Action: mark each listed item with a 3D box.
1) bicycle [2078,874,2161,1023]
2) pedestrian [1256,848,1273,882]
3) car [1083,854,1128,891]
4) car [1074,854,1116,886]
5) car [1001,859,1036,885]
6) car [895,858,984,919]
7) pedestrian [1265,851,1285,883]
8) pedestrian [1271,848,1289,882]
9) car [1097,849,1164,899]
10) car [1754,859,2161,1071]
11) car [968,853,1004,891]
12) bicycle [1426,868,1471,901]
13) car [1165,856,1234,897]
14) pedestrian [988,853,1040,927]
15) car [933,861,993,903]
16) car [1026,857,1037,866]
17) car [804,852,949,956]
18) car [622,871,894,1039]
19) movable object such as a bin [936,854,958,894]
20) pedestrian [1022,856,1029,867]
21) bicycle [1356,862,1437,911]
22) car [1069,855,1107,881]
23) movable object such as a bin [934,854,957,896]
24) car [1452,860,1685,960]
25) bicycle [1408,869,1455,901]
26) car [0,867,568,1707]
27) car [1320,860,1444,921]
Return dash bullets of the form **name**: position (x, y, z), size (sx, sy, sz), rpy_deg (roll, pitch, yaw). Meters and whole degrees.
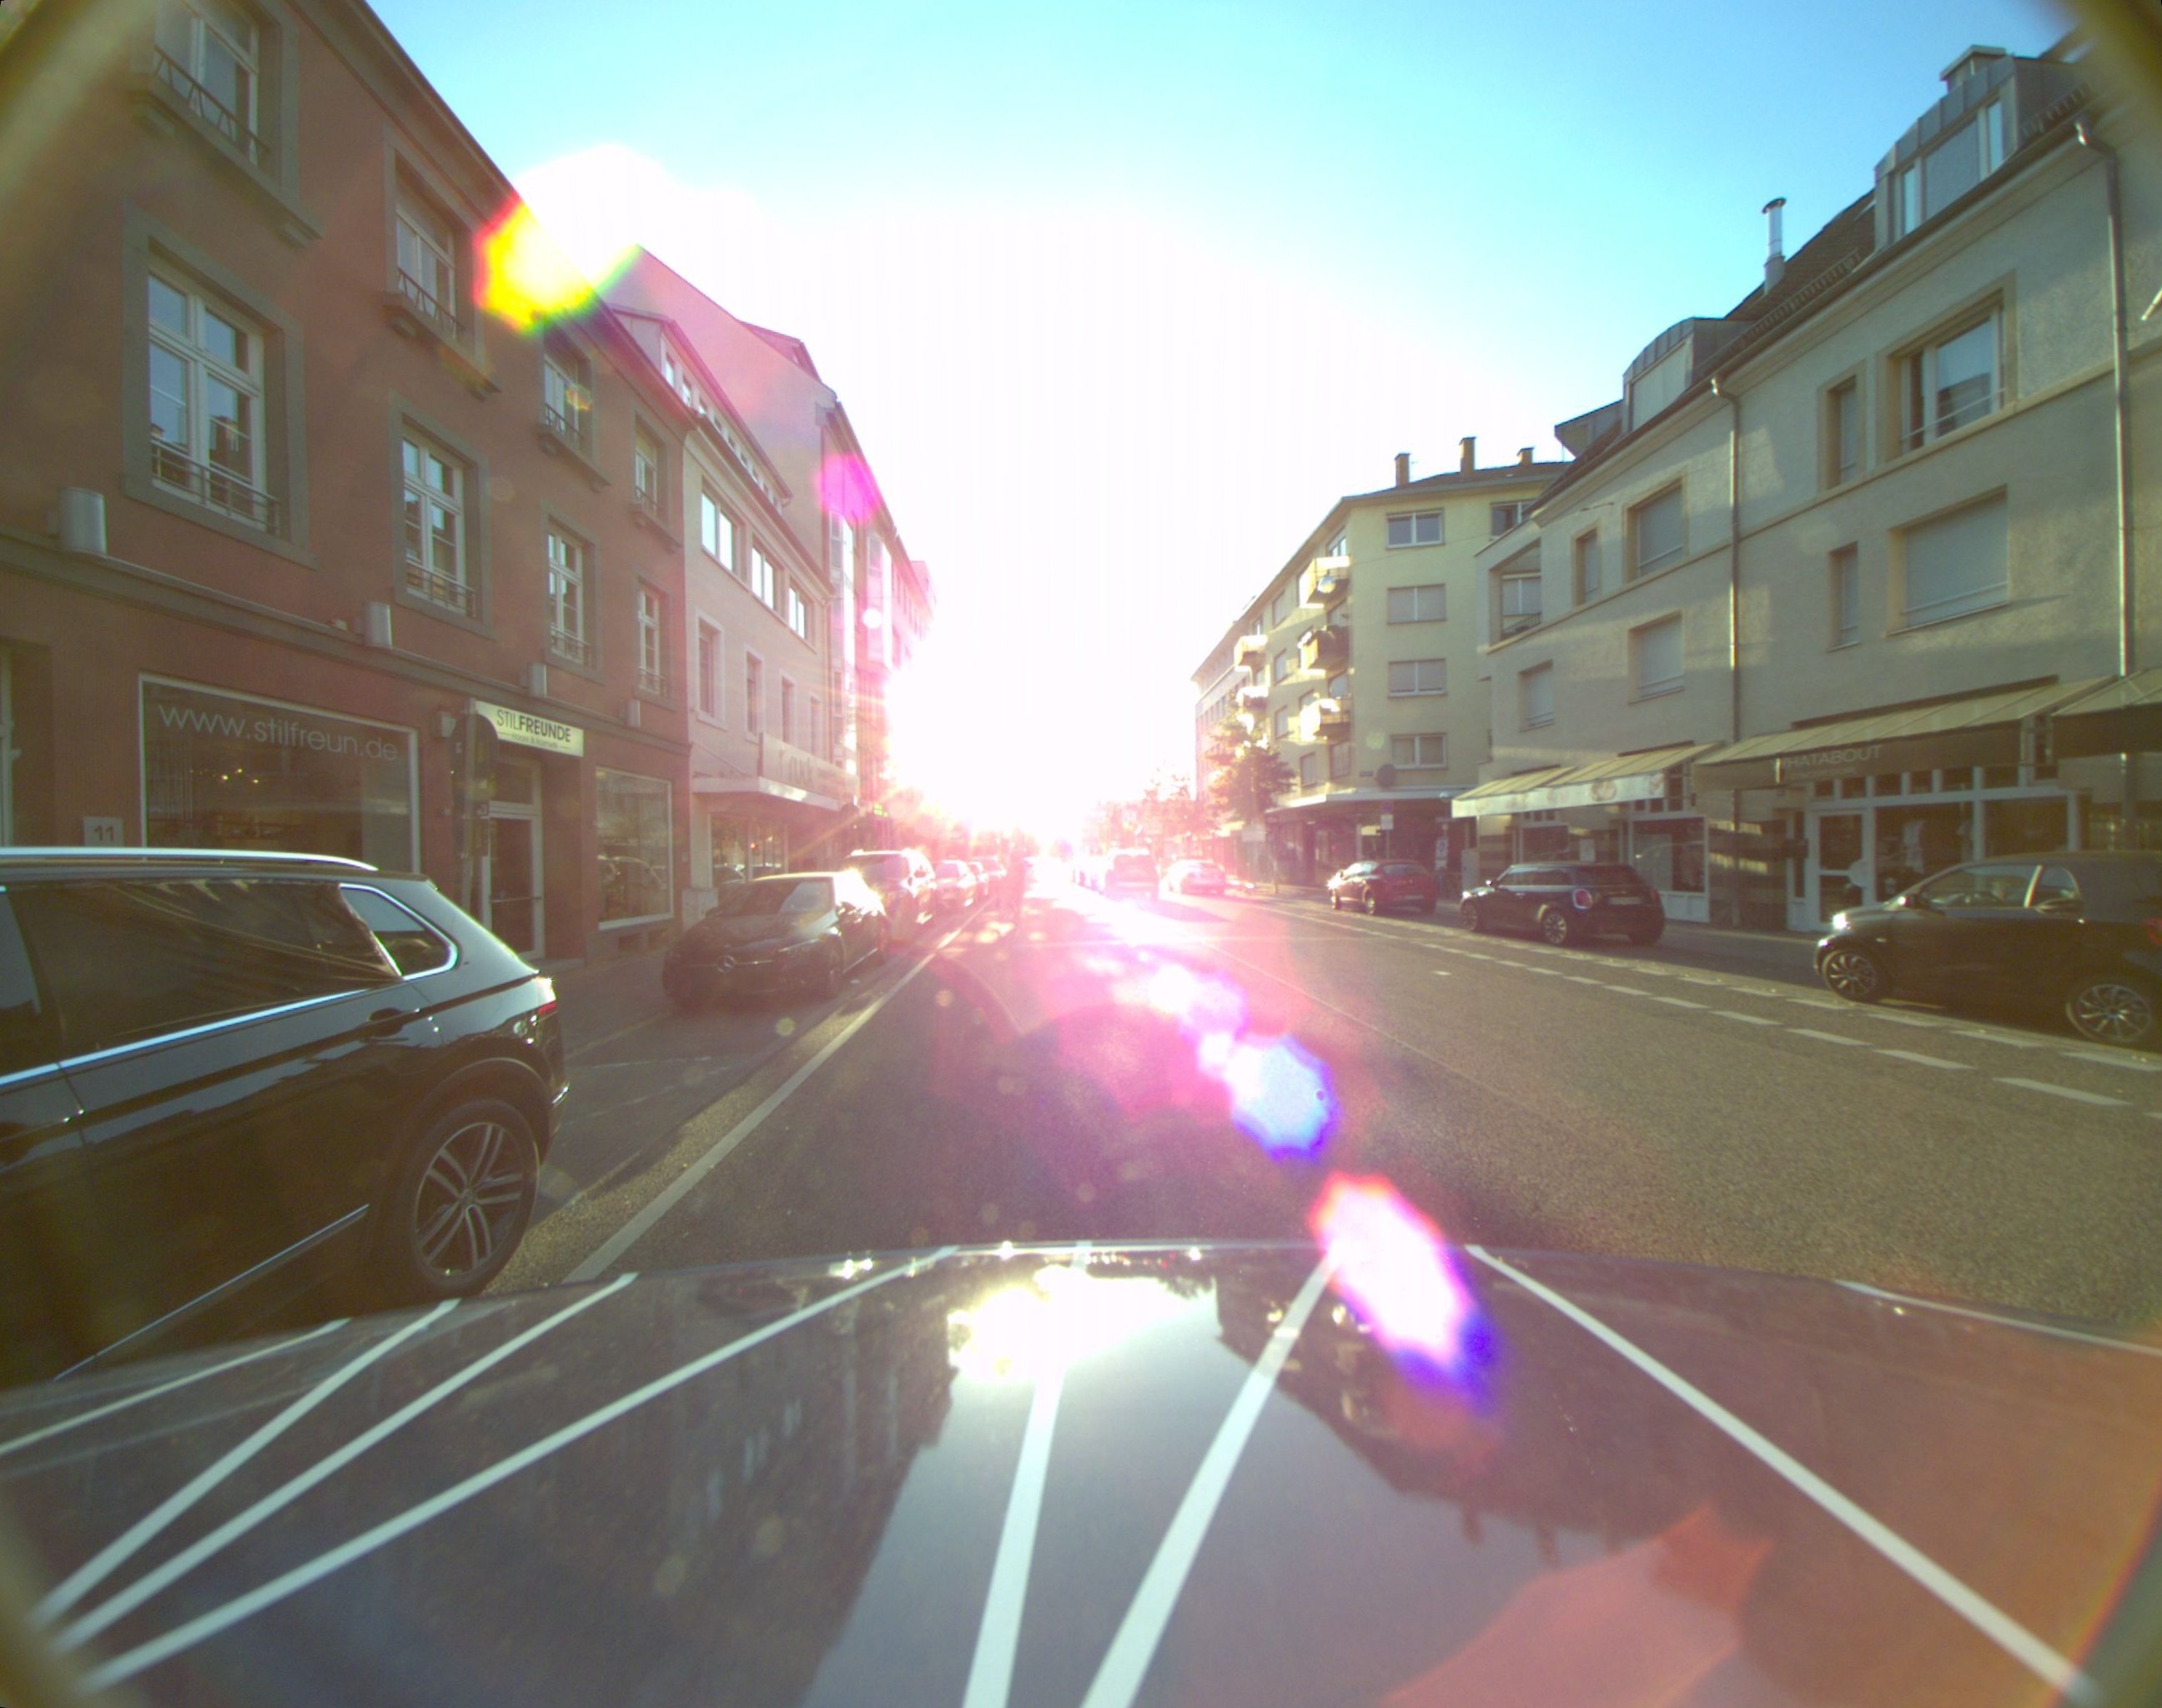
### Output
- **bicycle**: position (10.541, 0.911, 6.582), size (0.612, 1.367, 2.357), rpy_deg (-2, 1, -3)
- **pedestrian**: position (10.248, 0.612, 42.459), size (0.769, 1.836, 0.743), rpy_deg (-1, -1, 7)
- **car**: position (1.051, 0.784, 34.352), size (1.728, 1.540, 4.463), rpy_deg (0, 1, -2)
- **car**: position (0.697, 0.815, 41.223), size (1.951, 1.635, 4.613), rpy_deg (0, 1, -2)
- **car**: position (-3.660, 1.033, 44.568), size (1.942, 1.368, 4.180), rpy_deg (-2, 0, -4)
- **car**: position (-4.177, 0.957, 23.185), size (1.816, 1.518, 4.992), rpy_deg (-2, 1, -1)
- **pedestrian**: position (10.231, 0.695, 40.022), size (0.768, 1.666, 0.744), rpy_deg (-1, 1, 39)
- **pedestrian**: position (10.812, 0.590, 41.264), size (0.742, 1.808, 0.813), rpy_deg (0, 0, -1)
- **car**: position (1.680, 0.660, 27.529), size (1.946, 1.635, 4.737), rpy_deg (0, 1, -2)
- **car**: position (8.720, 0.828, 7.155), size (1.797, 1.526, 3.187), rpy_deg (-1, 0, -6)
- **car**: position (-4.754, 0.877, 38.406), size (1.659, 1.768, 4.010), rpy_deg (-2, 0, -6)
- **bicycle**: position (12.275, 0.994, 25.440), size (0.491, 0.986, 2.015), rpy_deg (-2, 1, -2)
- **car**: position (4.996, 0.914, 32.573), size (1.999, 1.503, 4.507), rpy_deg (2, 1, -3)
- **pedestrian**: position (-1.586, 0.814, 17.861), size (0.908, 1.666, 0.991), rpy_deg (-1, 0, -26)
- **car**: position (-4.392, 0.995, 28.899), size (1.757, 1.412, 4.508), rpy_deg (-2, 0, -3)
- **car**: position (-10.286, 1.541, 158.515), size (1.999, 1.538, 4.508), rpy_deg (-2, 1, -2)
- **car**: position (-4.079, 0.888, 16.081), size (1.888, 1.744, 5.056), rpy_deg (-2, 1, -3)
- **car**: position (-3.775, 1.066, 9.818), size (1.767, 1.475, 4.305), rpy_deg (-2, 1, -2)
- **movable object such as a bin**: position (-6.106, 0.884, 34.668), size (0.837, 1.763, 1.205), rpy_deg (-2, 1, -6)
- **pedestrian**: position (-8.794, 1.161, 119.615), size (0.905, 1.667, 0.780), rpy_deg (-2, 1, 9)
- **bicycle**: position (9.681, 0.957, 23.515), size (0.961, 1.293, 3.125), rpy_deg (-2, 1, -5)
- **car**: position (0.398, 0.902, 47.855), size (1.964, 1.538, 4.508), rpy_deg (-1, -1, -5)
- **movable object such as a bin**: position (-5.952, 0.893, 33.377), size (0.837, 1.763, 1.352), rpy_deg (-2, 1, -6)
- **car**: position (8.625, 0.896, 13.863), size (1.716, 1.445, 3.723), rpy_deg (-2, 1, -3)
- **bicycle**: position (11.721, 1.016, 25.470), size (0.491, 0.986, 2.015), rpy_deg (-2, 1, -5)
- **car**: position (-3.072, 0.938, 1.128), size (1.817, 1.658, 4.204), rpy_deg (-2, 1, -2)
- **car**: position (8.130, 0.924, 20.929), size (1.665, 1.394, 3.882), rpy_deg (-2, 1, -3)
